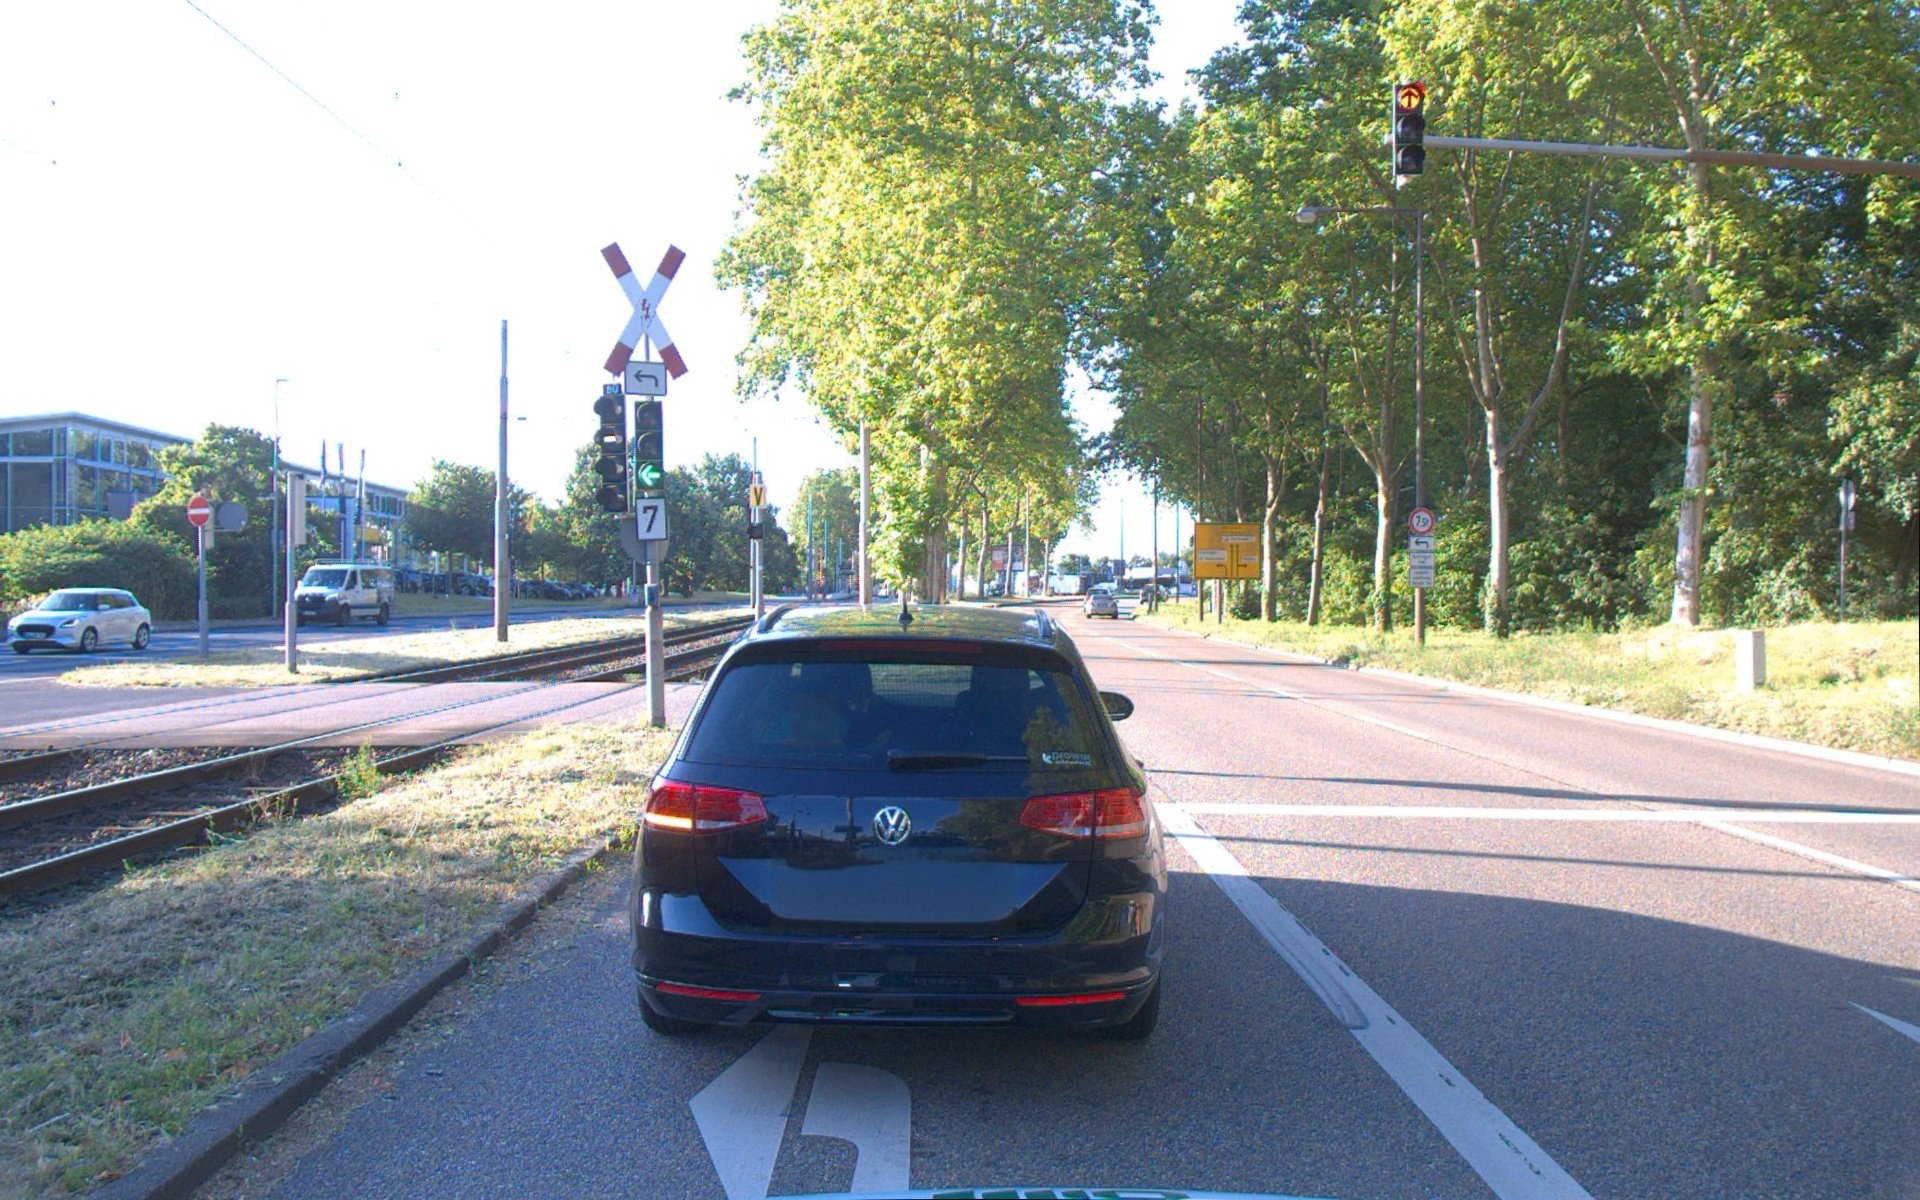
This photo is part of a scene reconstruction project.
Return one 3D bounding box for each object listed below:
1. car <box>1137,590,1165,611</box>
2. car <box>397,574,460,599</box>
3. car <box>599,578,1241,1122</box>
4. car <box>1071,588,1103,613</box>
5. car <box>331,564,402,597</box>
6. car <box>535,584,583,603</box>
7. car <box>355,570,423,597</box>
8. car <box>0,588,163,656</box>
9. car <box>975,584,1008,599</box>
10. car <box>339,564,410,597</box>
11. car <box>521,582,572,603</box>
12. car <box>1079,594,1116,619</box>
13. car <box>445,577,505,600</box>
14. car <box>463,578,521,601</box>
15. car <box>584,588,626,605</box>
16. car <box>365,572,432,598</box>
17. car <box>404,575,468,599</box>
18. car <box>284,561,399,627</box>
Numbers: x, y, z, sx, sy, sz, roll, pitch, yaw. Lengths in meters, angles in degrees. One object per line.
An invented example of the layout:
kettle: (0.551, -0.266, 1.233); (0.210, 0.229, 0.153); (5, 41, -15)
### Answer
car: (16.004, 0.066, 138.369); (1.832, 1.663, 4.373); (4, 0, 12)
car: (-35.706, -0.896, 111.106); (3.930, 1.583, 1.732); (1, 0, -22)
car: (-0.142, 0.694, 6.390); (1.758, 1.490, 3.582); (1, 0, -1)
car: (8.025, 0.022, 104.607); (1.672, 1.588, 4.165); (0, 0, -1)
car: (-35.547, -1.161, 99.018); (3.930, 1.848, 1.732); (1, 0, -22)
car: (-35.217, -0.571, 145.374); (3.909, 1.649, 1.742); (1, 0, -6)
car: (-35.200, -0.989, 101.933); (3.930, 1.583, 1.732); (1, 0, -22)
car: (-21.142, 0.495, 39.949); (1.824, 1.507, 4.091); (1, 1, -1)
car: (3.082, -0.833, 161.220); (1.952, 1.445, 4.001); (1, 0, 20)
car: (-34.441, -1.128, 97.280); (3.930, 1.848, 1.732); (1, 0, -22)
car: (-34.549, -0.630, 138.229); (3.909, 1.649, 1.742); (1, 0, -6)
car: (7.550, 0.322, 91.219); (1.576, 1.317, 3.981); (1, 0, -2)
car: (-35.569, -0.819, 121.255); (3.909, 1.649, 1.742); (1, 0, -6)
car: (-35.238, -0.778, 124.471); (3.909, 1.649, 1.742); (1, 0, -6)
car: (-35.961, -0.348, 167.435); (3.909, 1.583, 1.742); (1, 0, -5)
car: (-35.541, -0.963, 104.712); (3.930, 1.583, 1.732); (1, 0, -22)
car: (-36.037, -0.876, 113.801); (3.913, 1.583, 1.740); (1, 0, -9)
car: (-24.845, -0.266, 66.733); (2.051, 2.504, 5.856); (1, 1, 4)
